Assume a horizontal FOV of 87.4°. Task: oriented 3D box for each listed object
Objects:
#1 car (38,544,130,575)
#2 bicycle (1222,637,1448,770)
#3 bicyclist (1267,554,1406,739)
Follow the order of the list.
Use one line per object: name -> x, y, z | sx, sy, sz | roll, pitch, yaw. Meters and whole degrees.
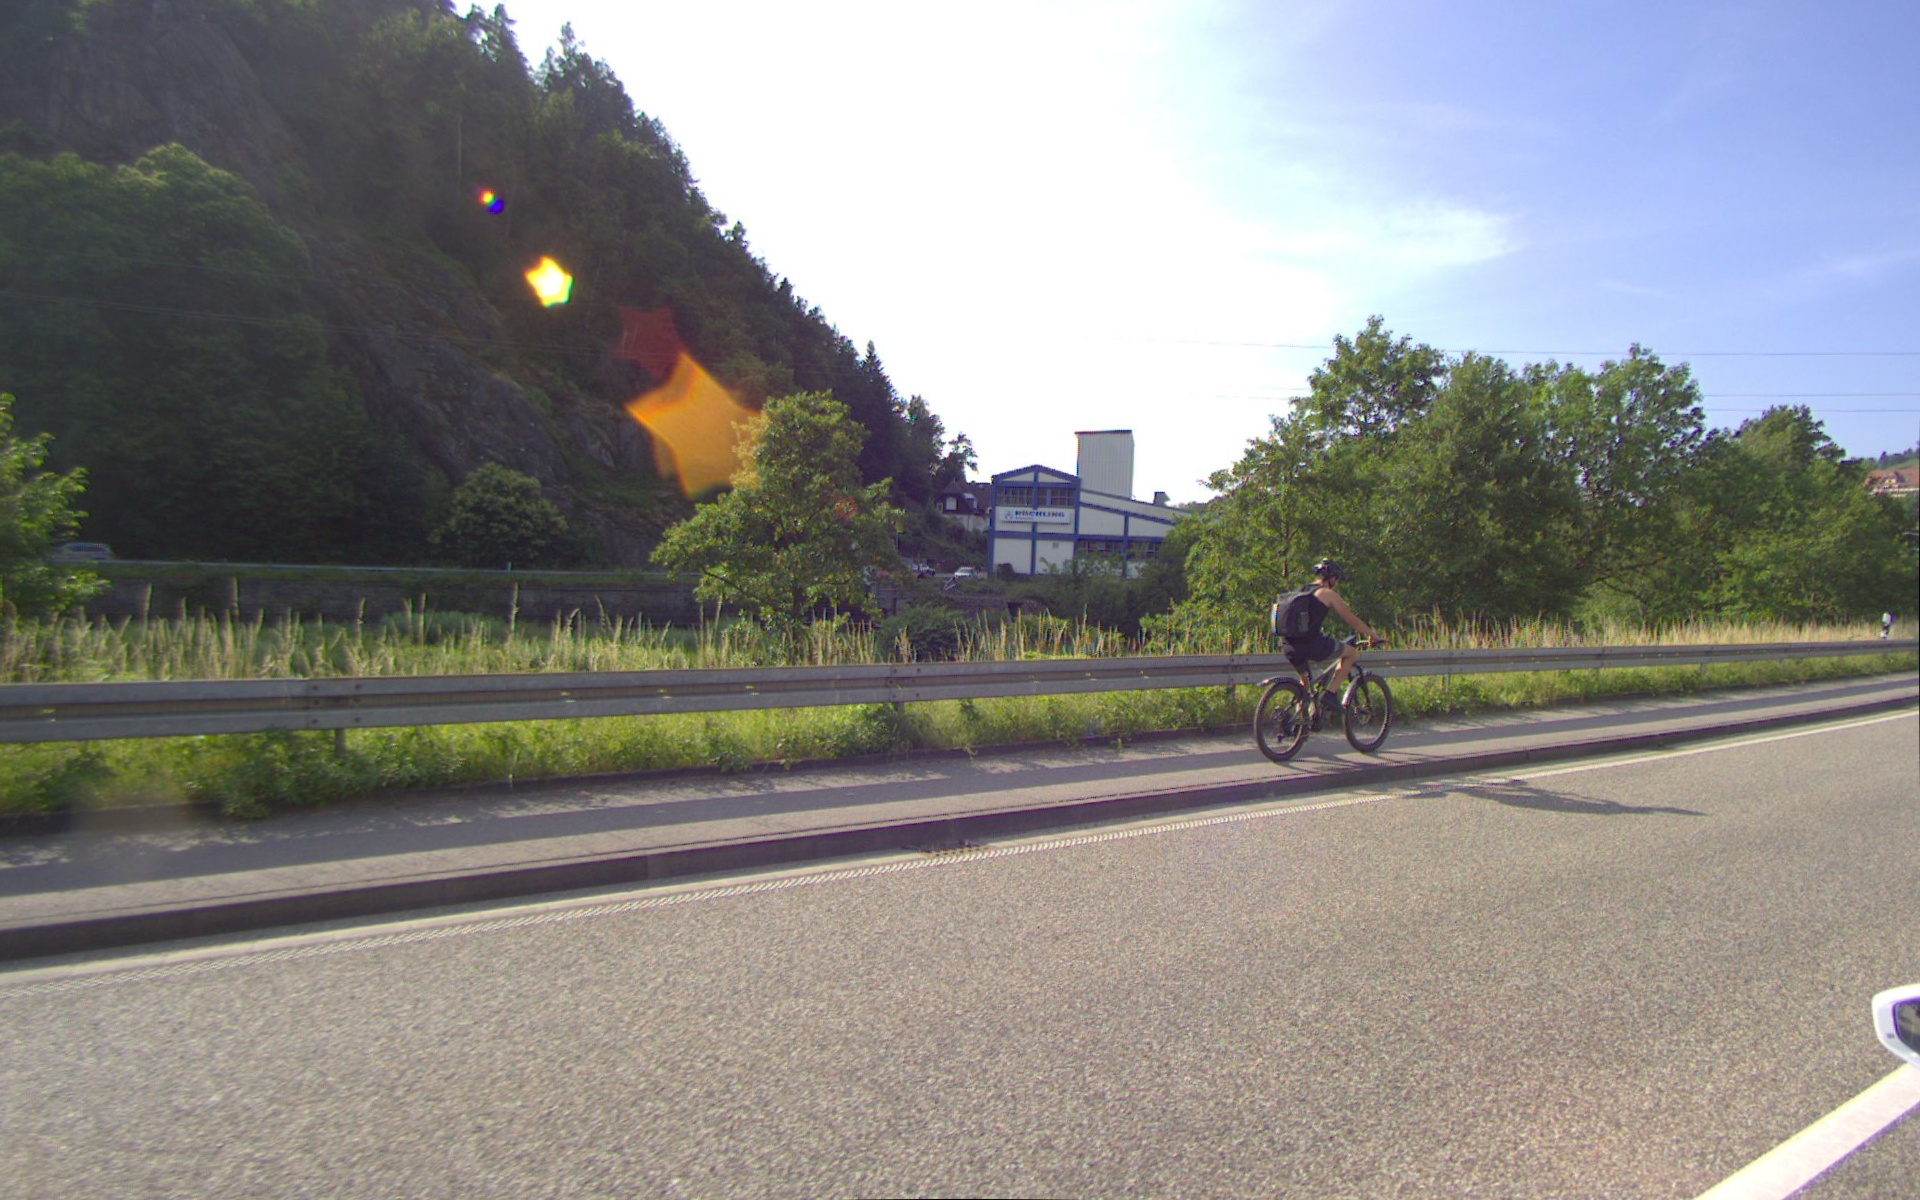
car -> -54.304, -2.502, 62.369 | 3.952, 1.688, 1.861 | 2, 4, -30
bicycle -> 3.501, 0.915, 9.316 | 2.200, 1.060, 0.555 | 0, 5, -27
bicyclist -> 3.464, 0.404, 9.258 | 1.022, 1.608, 0.555 | 0, 5, -26
